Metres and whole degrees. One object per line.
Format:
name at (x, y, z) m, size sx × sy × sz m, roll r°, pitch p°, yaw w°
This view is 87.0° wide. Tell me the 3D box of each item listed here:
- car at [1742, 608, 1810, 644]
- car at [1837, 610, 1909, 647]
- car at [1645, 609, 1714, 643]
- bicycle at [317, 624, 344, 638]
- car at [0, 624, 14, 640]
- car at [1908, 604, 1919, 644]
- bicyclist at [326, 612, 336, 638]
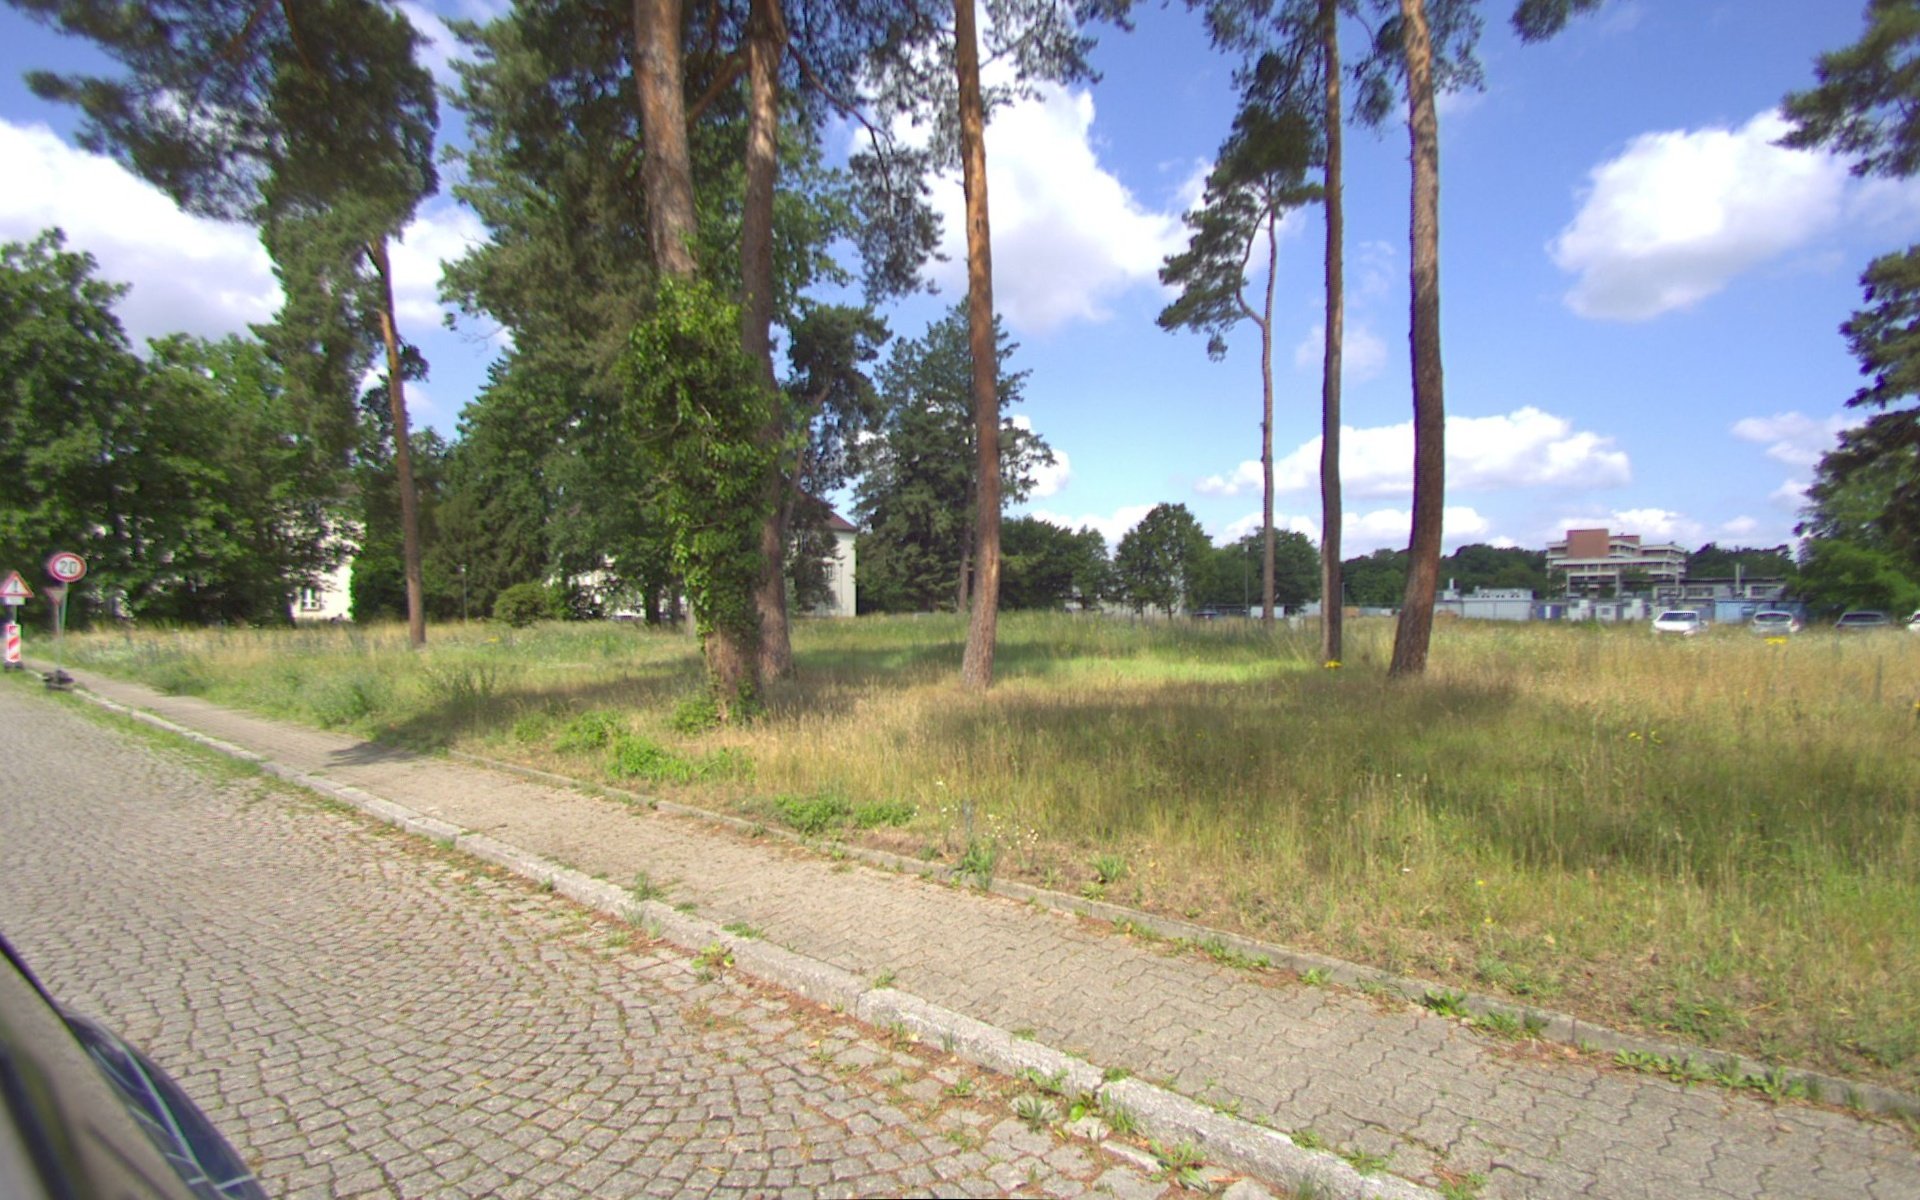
car at (32.589, 1.034, 40.363) m, size 1.900 × 1.349 × 4.022 m, roll -1°, pitch -2°, yaw 42°
car at (34.094, 1.054, 37.828) m, size 1.900 × 1.330 × 4.022 m, roll -1°, pitch -2°, yaw 42°
car at (30.002, 1.066, 42.165) m, size 1.900 × 1.359 × 4.014 m, roll -1°, pitch -2°, yaw 42°
bicycle at (-43.960, 2.159, 70.691) m, size 1.532 × 1.004 × 0.636 m, roll 0°, pitch -1°, yaw -36°
car at (-103.663, 3.407, 107.864) m, size 1.767 × 1.656 × 4.029 m, roll -1°, pitch -2°, yaw 42°
car at (43.012, 1.063, 44.435) m, size 1.900 × 1.715 × 4.022 m, roll -1°, pitch -2°, yaw 42°
bicyclist at (-43.969, 1.769, 70.701) m, size 0.562 × 1.784 × 0.636 m, roll 0°, pitch -1°, yaw -36°
